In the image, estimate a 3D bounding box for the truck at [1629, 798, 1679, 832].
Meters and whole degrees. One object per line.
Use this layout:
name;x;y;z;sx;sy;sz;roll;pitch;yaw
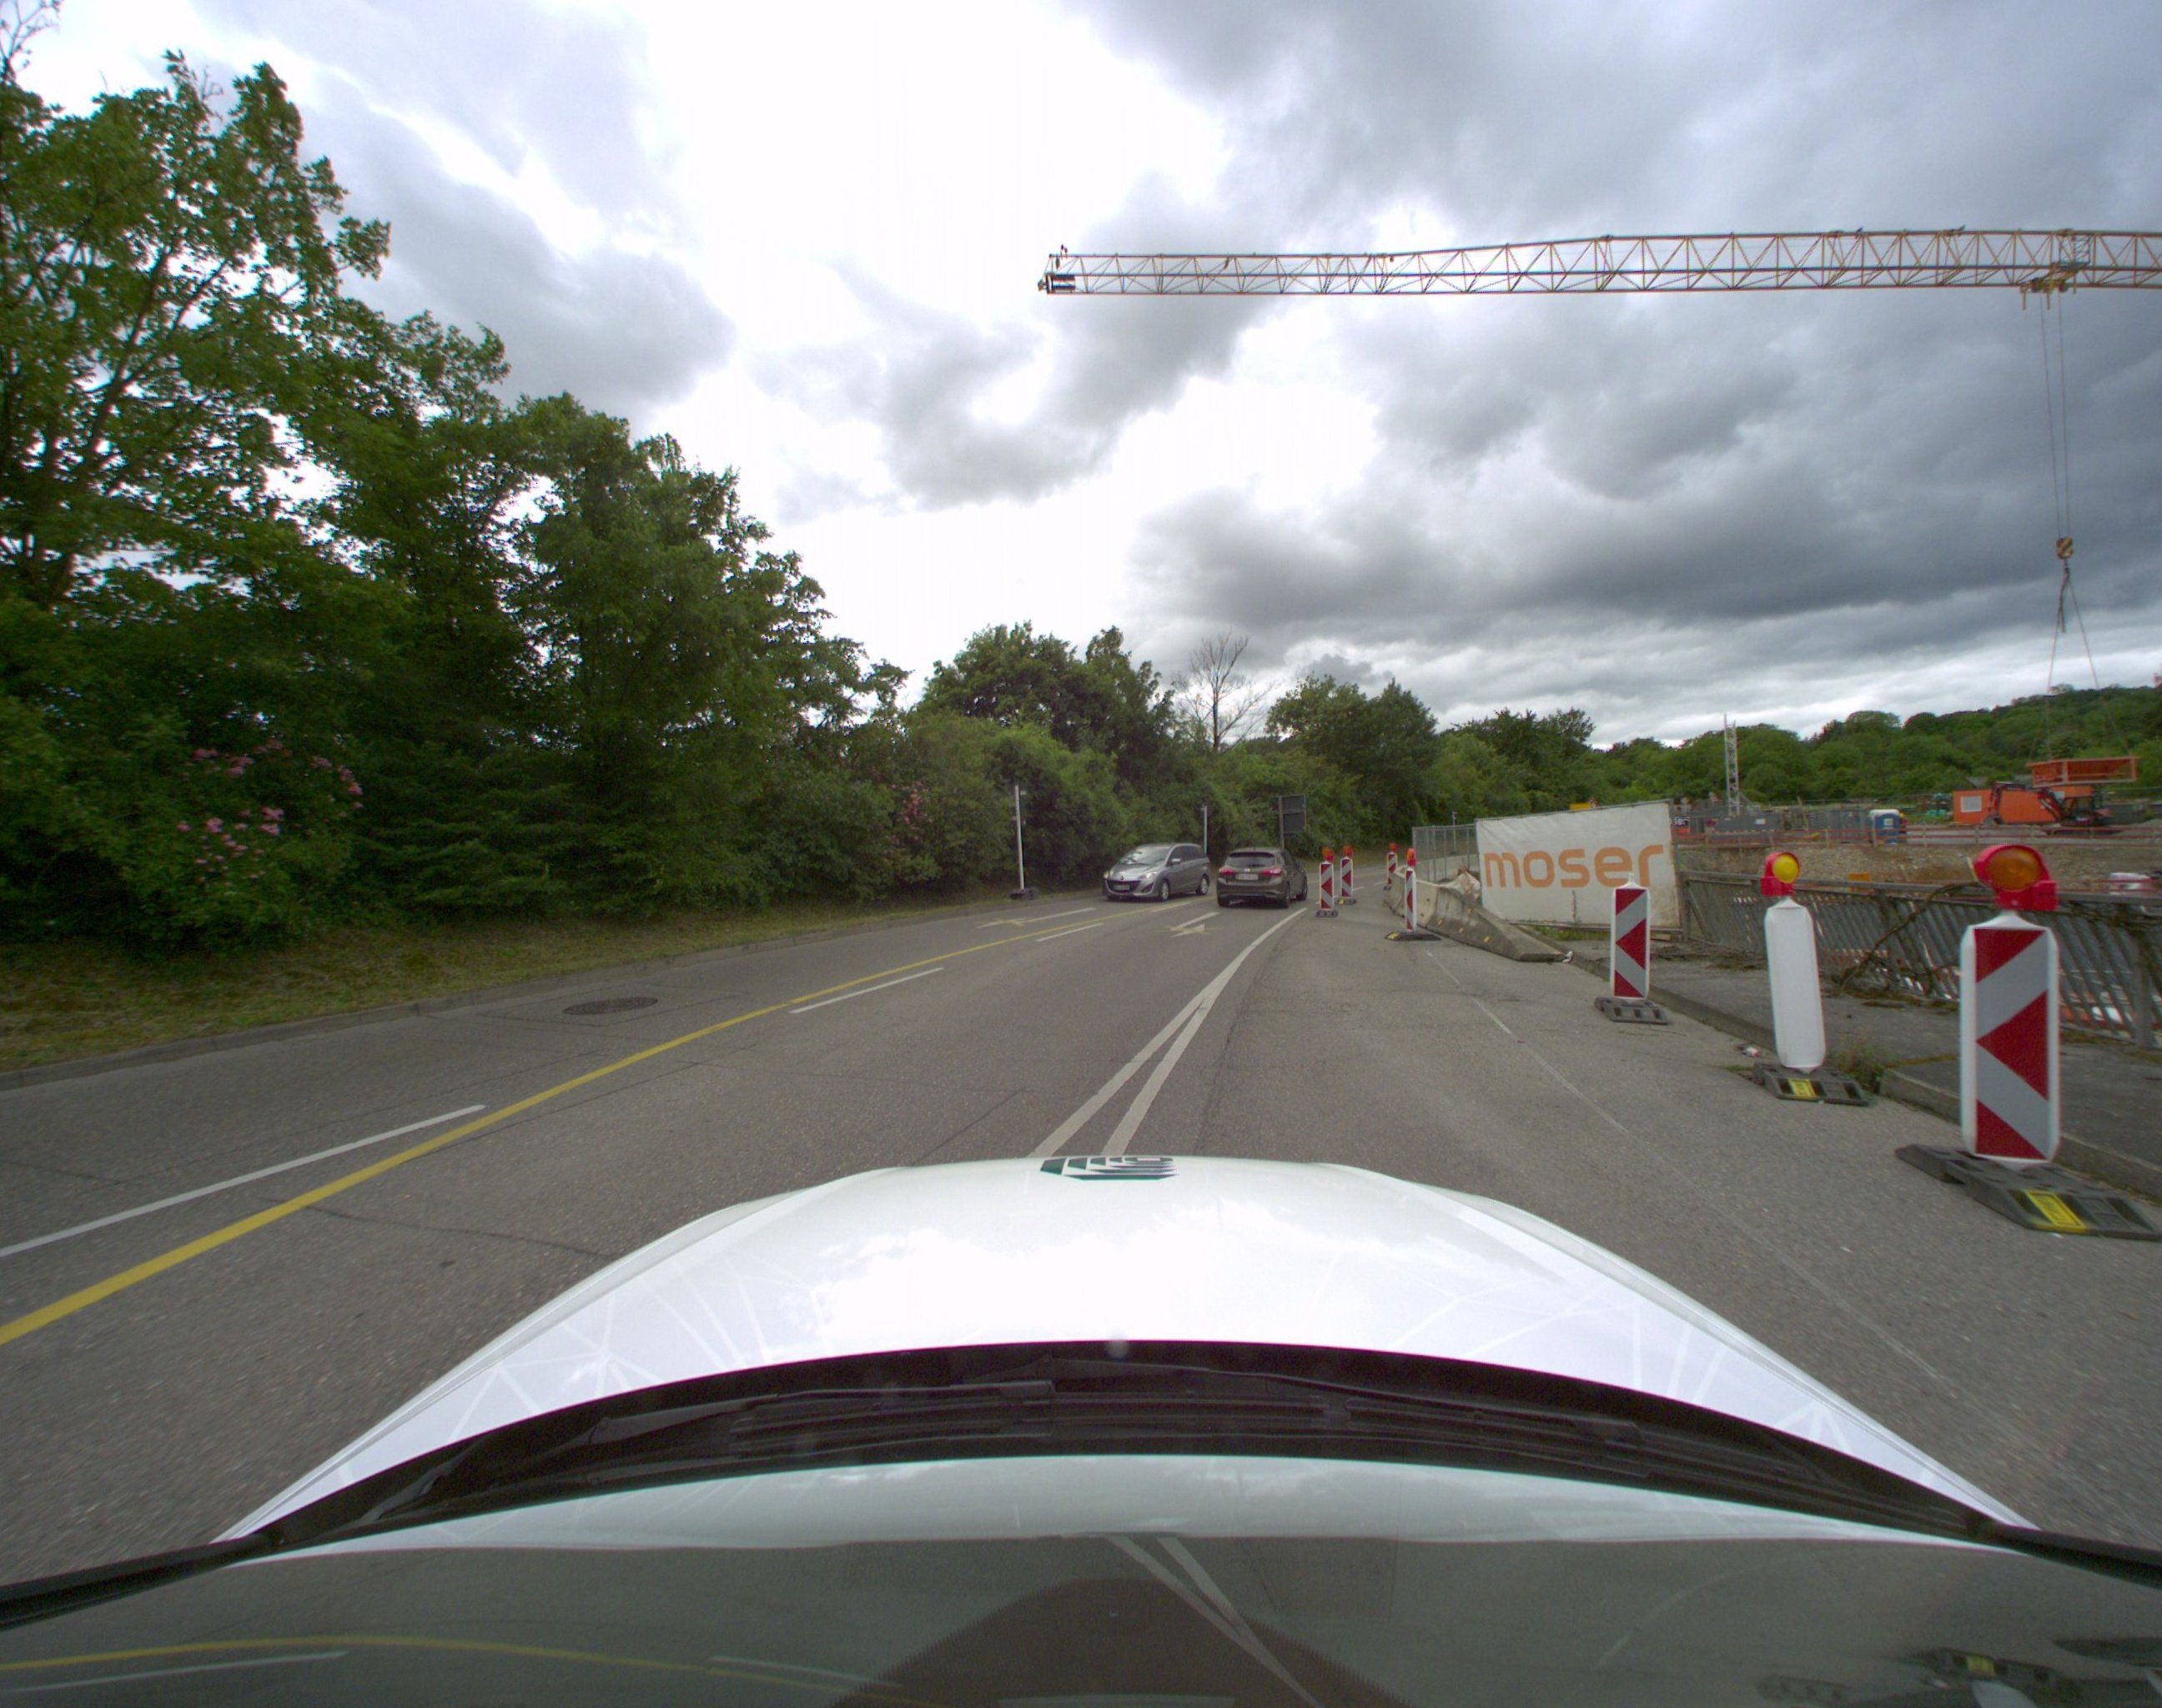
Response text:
truck;61.962;-4.256;87.971;8.431;3.335;2.794;-4;1;-45

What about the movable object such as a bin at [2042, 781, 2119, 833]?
movable object such as a bin;64.131;-3.000;52.323;2.765;3.077;1.852;-3;-1;44

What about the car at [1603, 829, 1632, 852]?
car;42.299;-1.078;64.213;1.695;1.675;4.026;-3;-1;35

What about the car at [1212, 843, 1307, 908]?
car;4.877;0.490;21.805;1.782;1.552;4.022;0;1;23

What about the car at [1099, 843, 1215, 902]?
car;2.314;0.469;23.699;1.617;1.545;4.378;-1;0;31

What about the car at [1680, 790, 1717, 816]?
car;55.498;-4.548;73.171;4.023;2.014;1.975;-2;-1;-43
